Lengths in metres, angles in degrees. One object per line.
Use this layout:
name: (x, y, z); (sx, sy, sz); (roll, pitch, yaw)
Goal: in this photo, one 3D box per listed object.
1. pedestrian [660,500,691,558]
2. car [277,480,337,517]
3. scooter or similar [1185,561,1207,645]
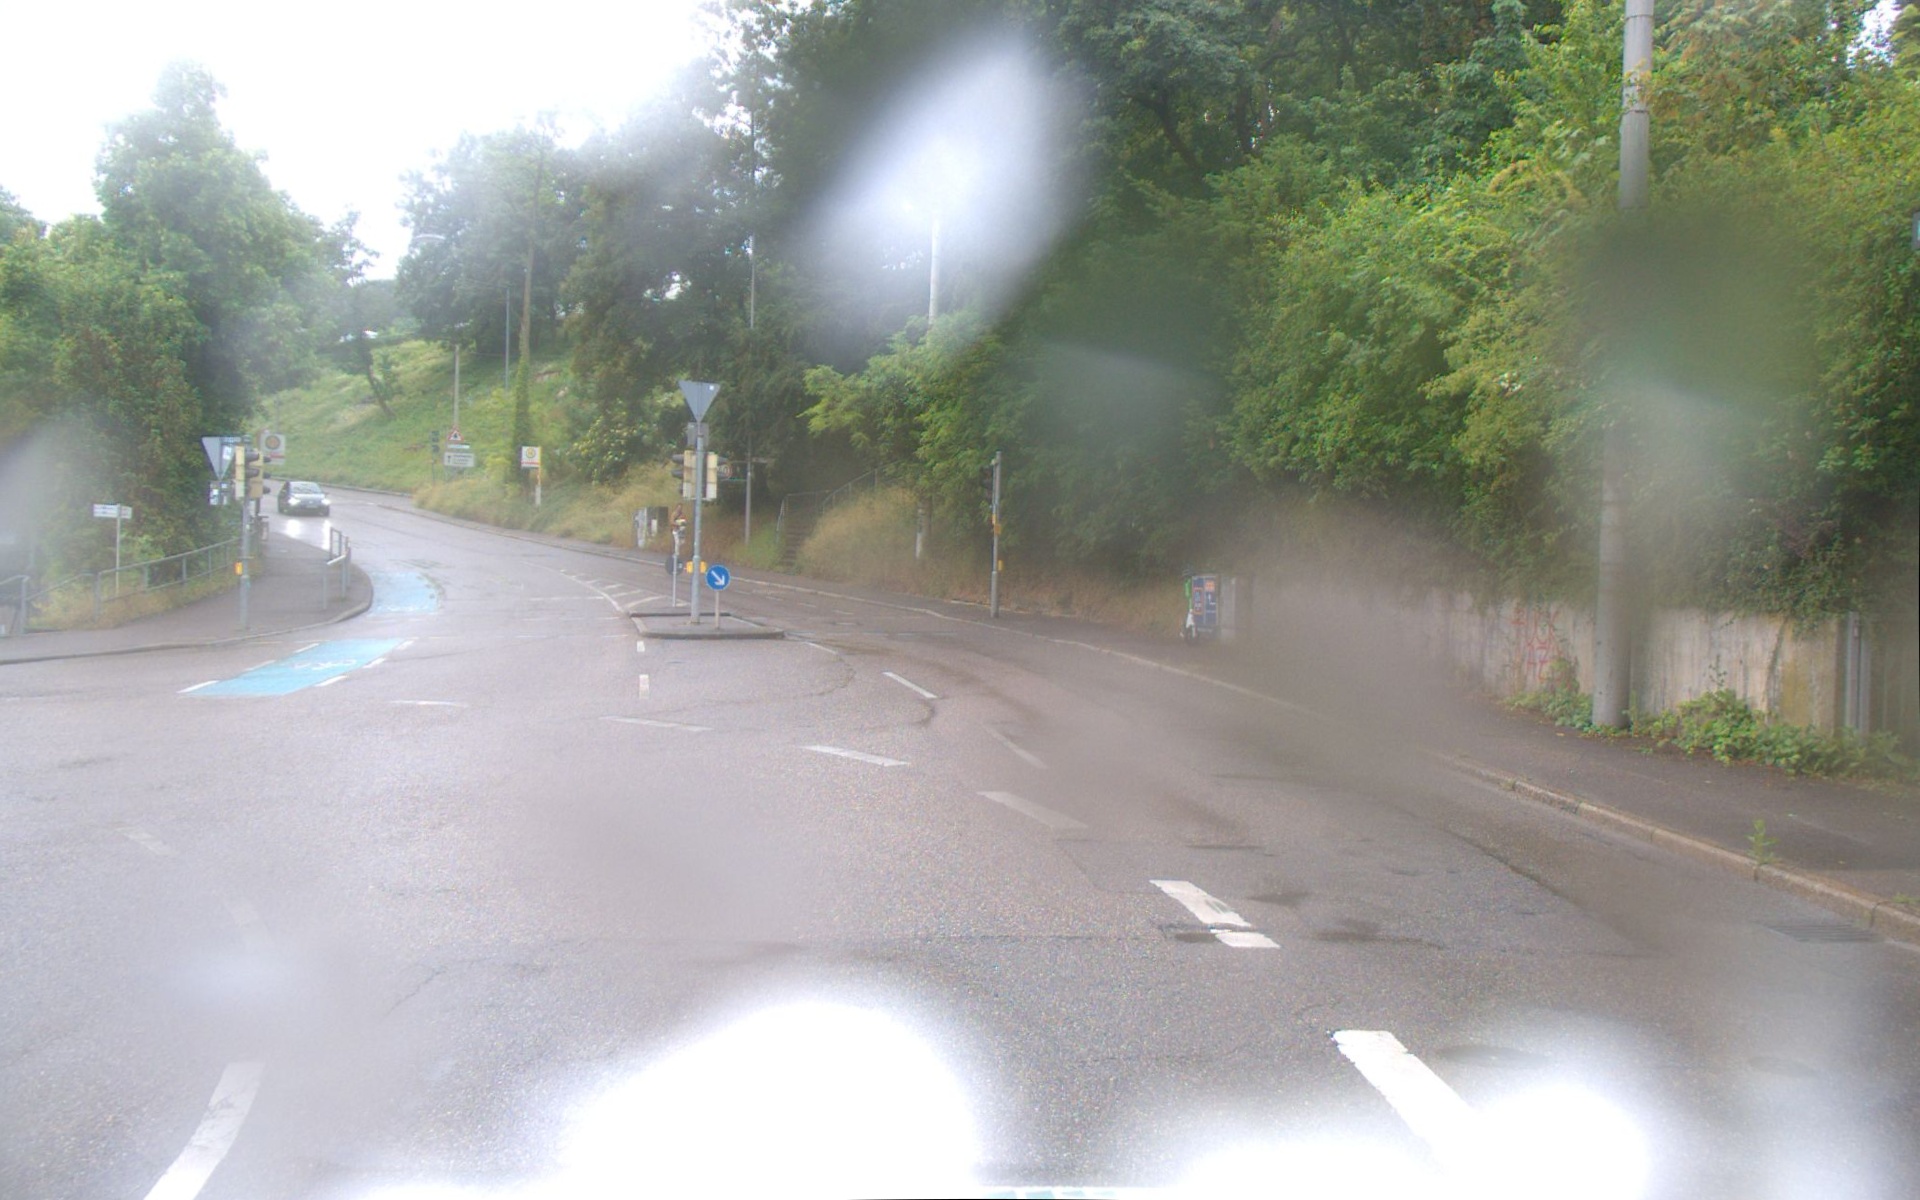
pedestrian: (-9.047, -2.238, 52.563); (0.867, 1.767, 0.861); (1, -1, -18)
car: (-29.525, -4.608, 74.743); (1.935, 1.538, 4.363); (1, 3, -29)
scooter or similar: (3.783, 0.033, 26.530); (0.315, 1.302, 0.752); (0, 3, 7)
